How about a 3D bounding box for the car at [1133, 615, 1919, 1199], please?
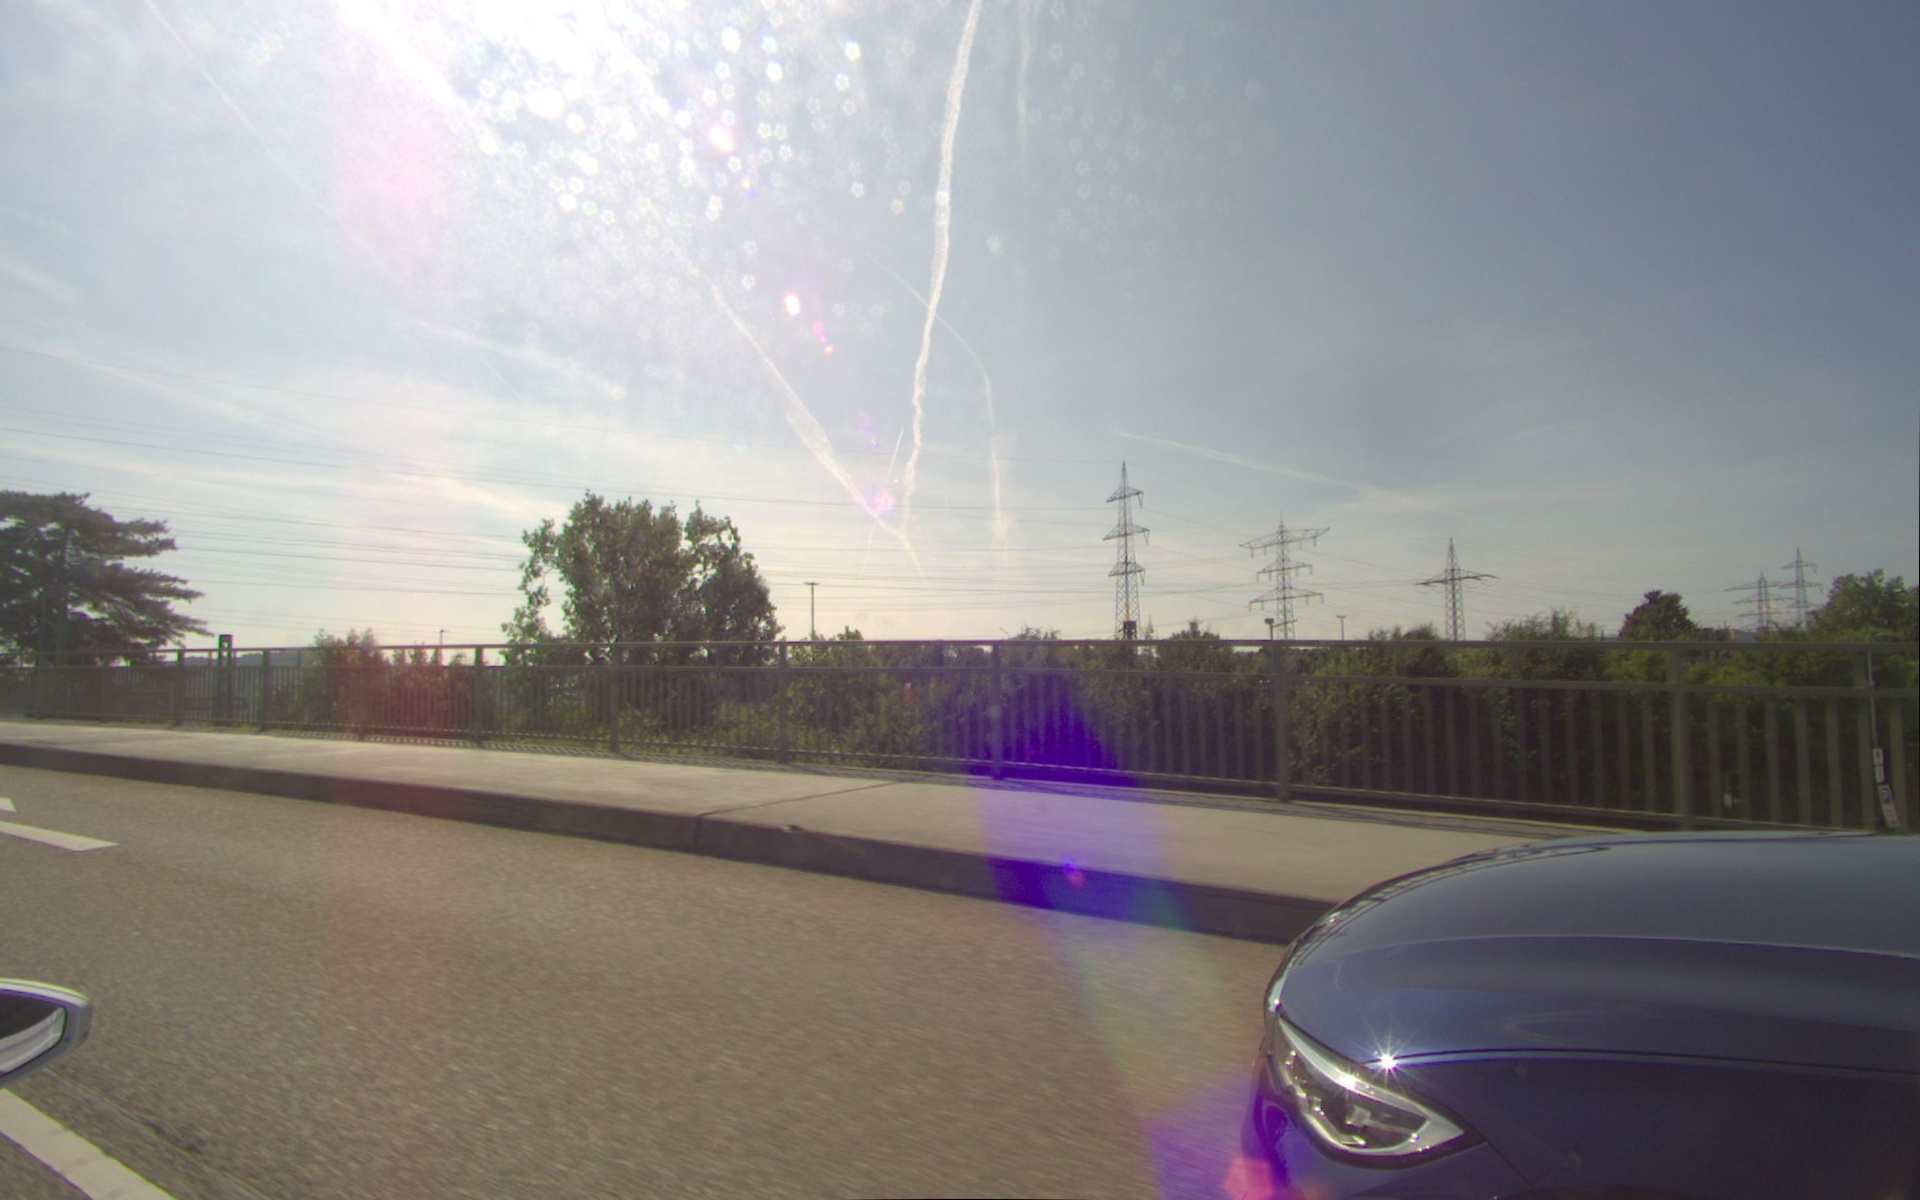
[{"bbox_3d":[2.642,0.753,1.191,4.459,1.500,1.785,-4,-6,33],"label":"car"}]
